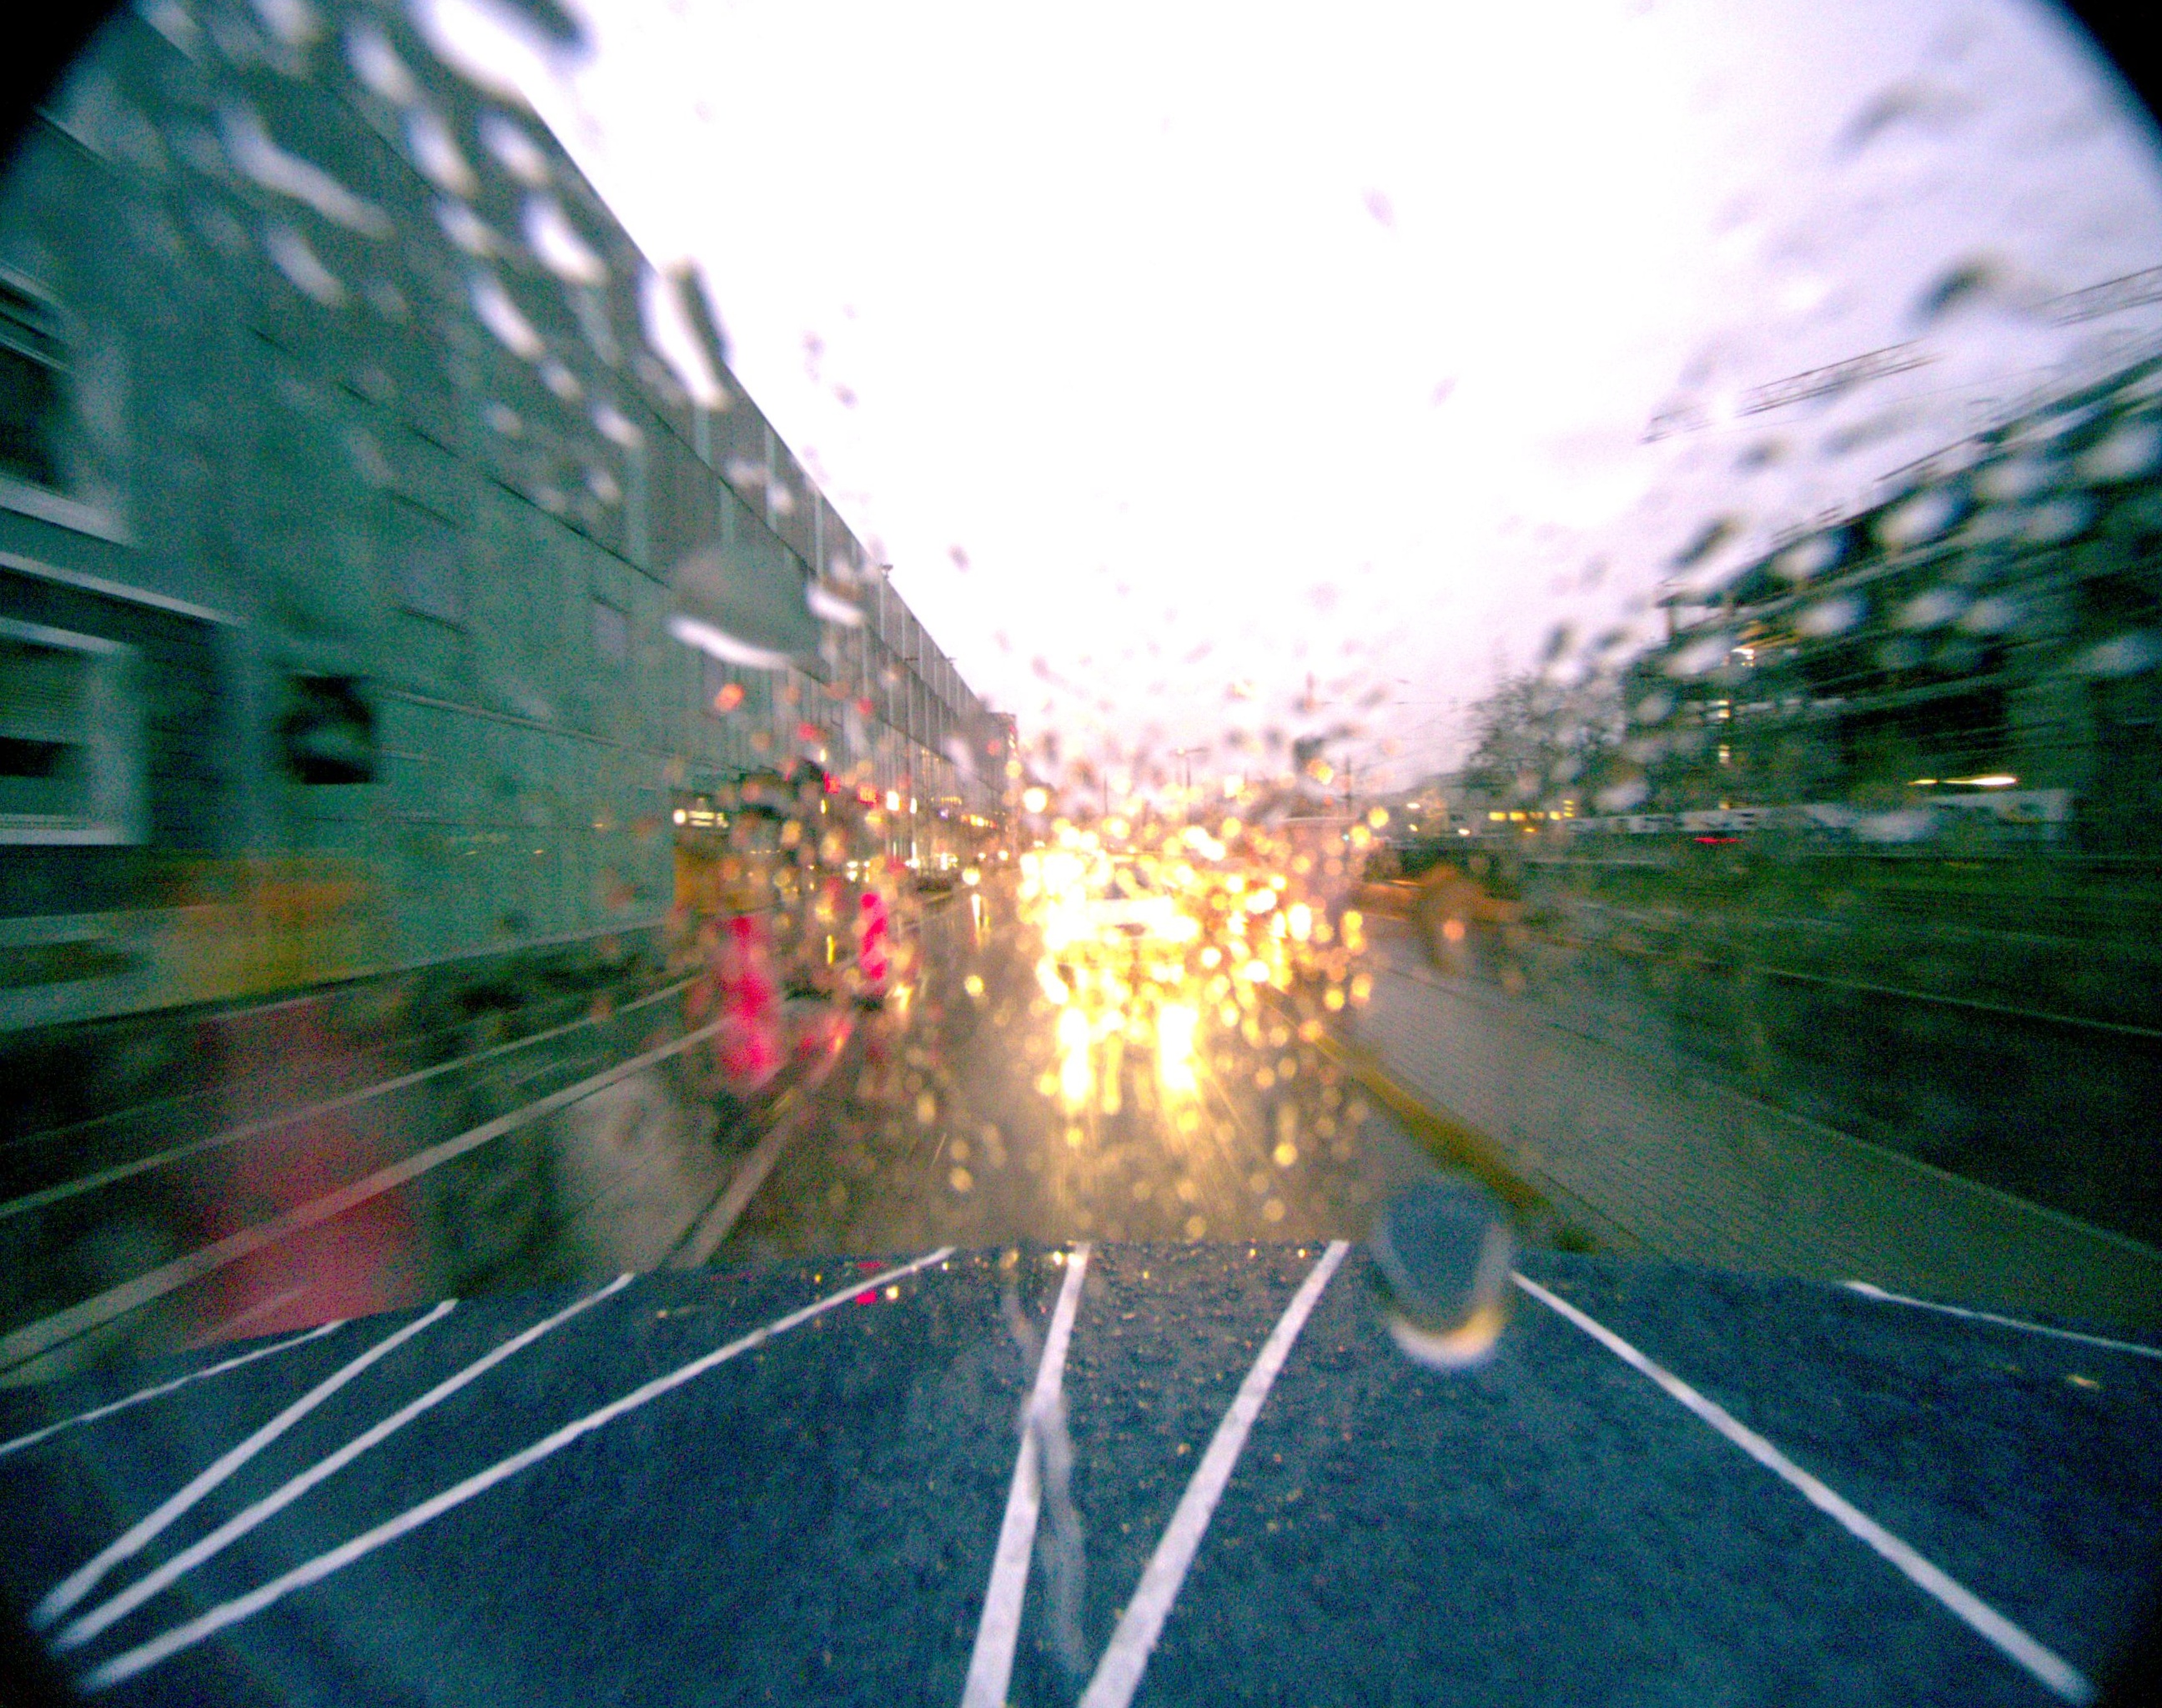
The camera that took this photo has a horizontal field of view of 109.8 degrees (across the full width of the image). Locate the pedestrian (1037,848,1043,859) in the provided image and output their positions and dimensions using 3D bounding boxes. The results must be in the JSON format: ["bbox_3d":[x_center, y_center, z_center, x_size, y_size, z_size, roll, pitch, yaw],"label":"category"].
[{"bbox_3d":[-6.522,-0.109,120.789,0.707,1.685,0.723,0,1,-11],"label":"pedestrian"}]

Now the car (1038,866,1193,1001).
[{"bbox_3d":[0.507,1.001,11.309,1.814,1.464,4.139,-3,1,2],"label":"car"}]

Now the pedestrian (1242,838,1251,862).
[{"bbox_3d":[11.889,-0.285,54.686,0.585,1.692,0.741,-2,1,11],"label":"pedestrian"}]

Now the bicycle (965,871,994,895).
[{"bbox_3d":[-4.791,1.370,35.886,0.945,0.993,2.240,-3,0,2],"label":"bicycle"}]

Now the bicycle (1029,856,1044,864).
[{"bbox_3d":[-6.118,0.810,104.704,1.908,1.168,0.666,0,1,0],"label":"bicycle"}]

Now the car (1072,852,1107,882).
[{"bbox_3d":[0.563,0.765,47.270,1.998,1.673,4.000,-3,1,2],"label":"car"}]

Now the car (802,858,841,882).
[{"bbox_3d":[-20.077,1.227,58.931,1.675,1.721,3.999,-2,1,-1],"label":"car"}]

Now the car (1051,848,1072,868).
[{"bbox_3d":[-2.101,0.448,81.753,1.998,2.002,4.000,-2,1,1],"label":"car"}]

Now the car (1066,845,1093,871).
[{"bbox_3d":[-0.076,0.249,58.605,1.865,1.867,4.000,-3,1,2],"label":"car"}]

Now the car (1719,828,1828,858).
[{"bbox_3d":[35.678,-0.532,39.310,1.686,1.406,4.340,-3,0,1],"label":"car"}]

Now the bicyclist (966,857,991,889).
[{"bbox_3d":[-4.828,0.874,35.846,0.945,1.454,1.066,-3,1,2],"label":"bicyclist"}]

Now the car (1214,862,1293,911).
[{"bbox_3d":[5.727,1.032,25.683,1.809,1.444,4.004,-1,0,1],"label":"car"}]
